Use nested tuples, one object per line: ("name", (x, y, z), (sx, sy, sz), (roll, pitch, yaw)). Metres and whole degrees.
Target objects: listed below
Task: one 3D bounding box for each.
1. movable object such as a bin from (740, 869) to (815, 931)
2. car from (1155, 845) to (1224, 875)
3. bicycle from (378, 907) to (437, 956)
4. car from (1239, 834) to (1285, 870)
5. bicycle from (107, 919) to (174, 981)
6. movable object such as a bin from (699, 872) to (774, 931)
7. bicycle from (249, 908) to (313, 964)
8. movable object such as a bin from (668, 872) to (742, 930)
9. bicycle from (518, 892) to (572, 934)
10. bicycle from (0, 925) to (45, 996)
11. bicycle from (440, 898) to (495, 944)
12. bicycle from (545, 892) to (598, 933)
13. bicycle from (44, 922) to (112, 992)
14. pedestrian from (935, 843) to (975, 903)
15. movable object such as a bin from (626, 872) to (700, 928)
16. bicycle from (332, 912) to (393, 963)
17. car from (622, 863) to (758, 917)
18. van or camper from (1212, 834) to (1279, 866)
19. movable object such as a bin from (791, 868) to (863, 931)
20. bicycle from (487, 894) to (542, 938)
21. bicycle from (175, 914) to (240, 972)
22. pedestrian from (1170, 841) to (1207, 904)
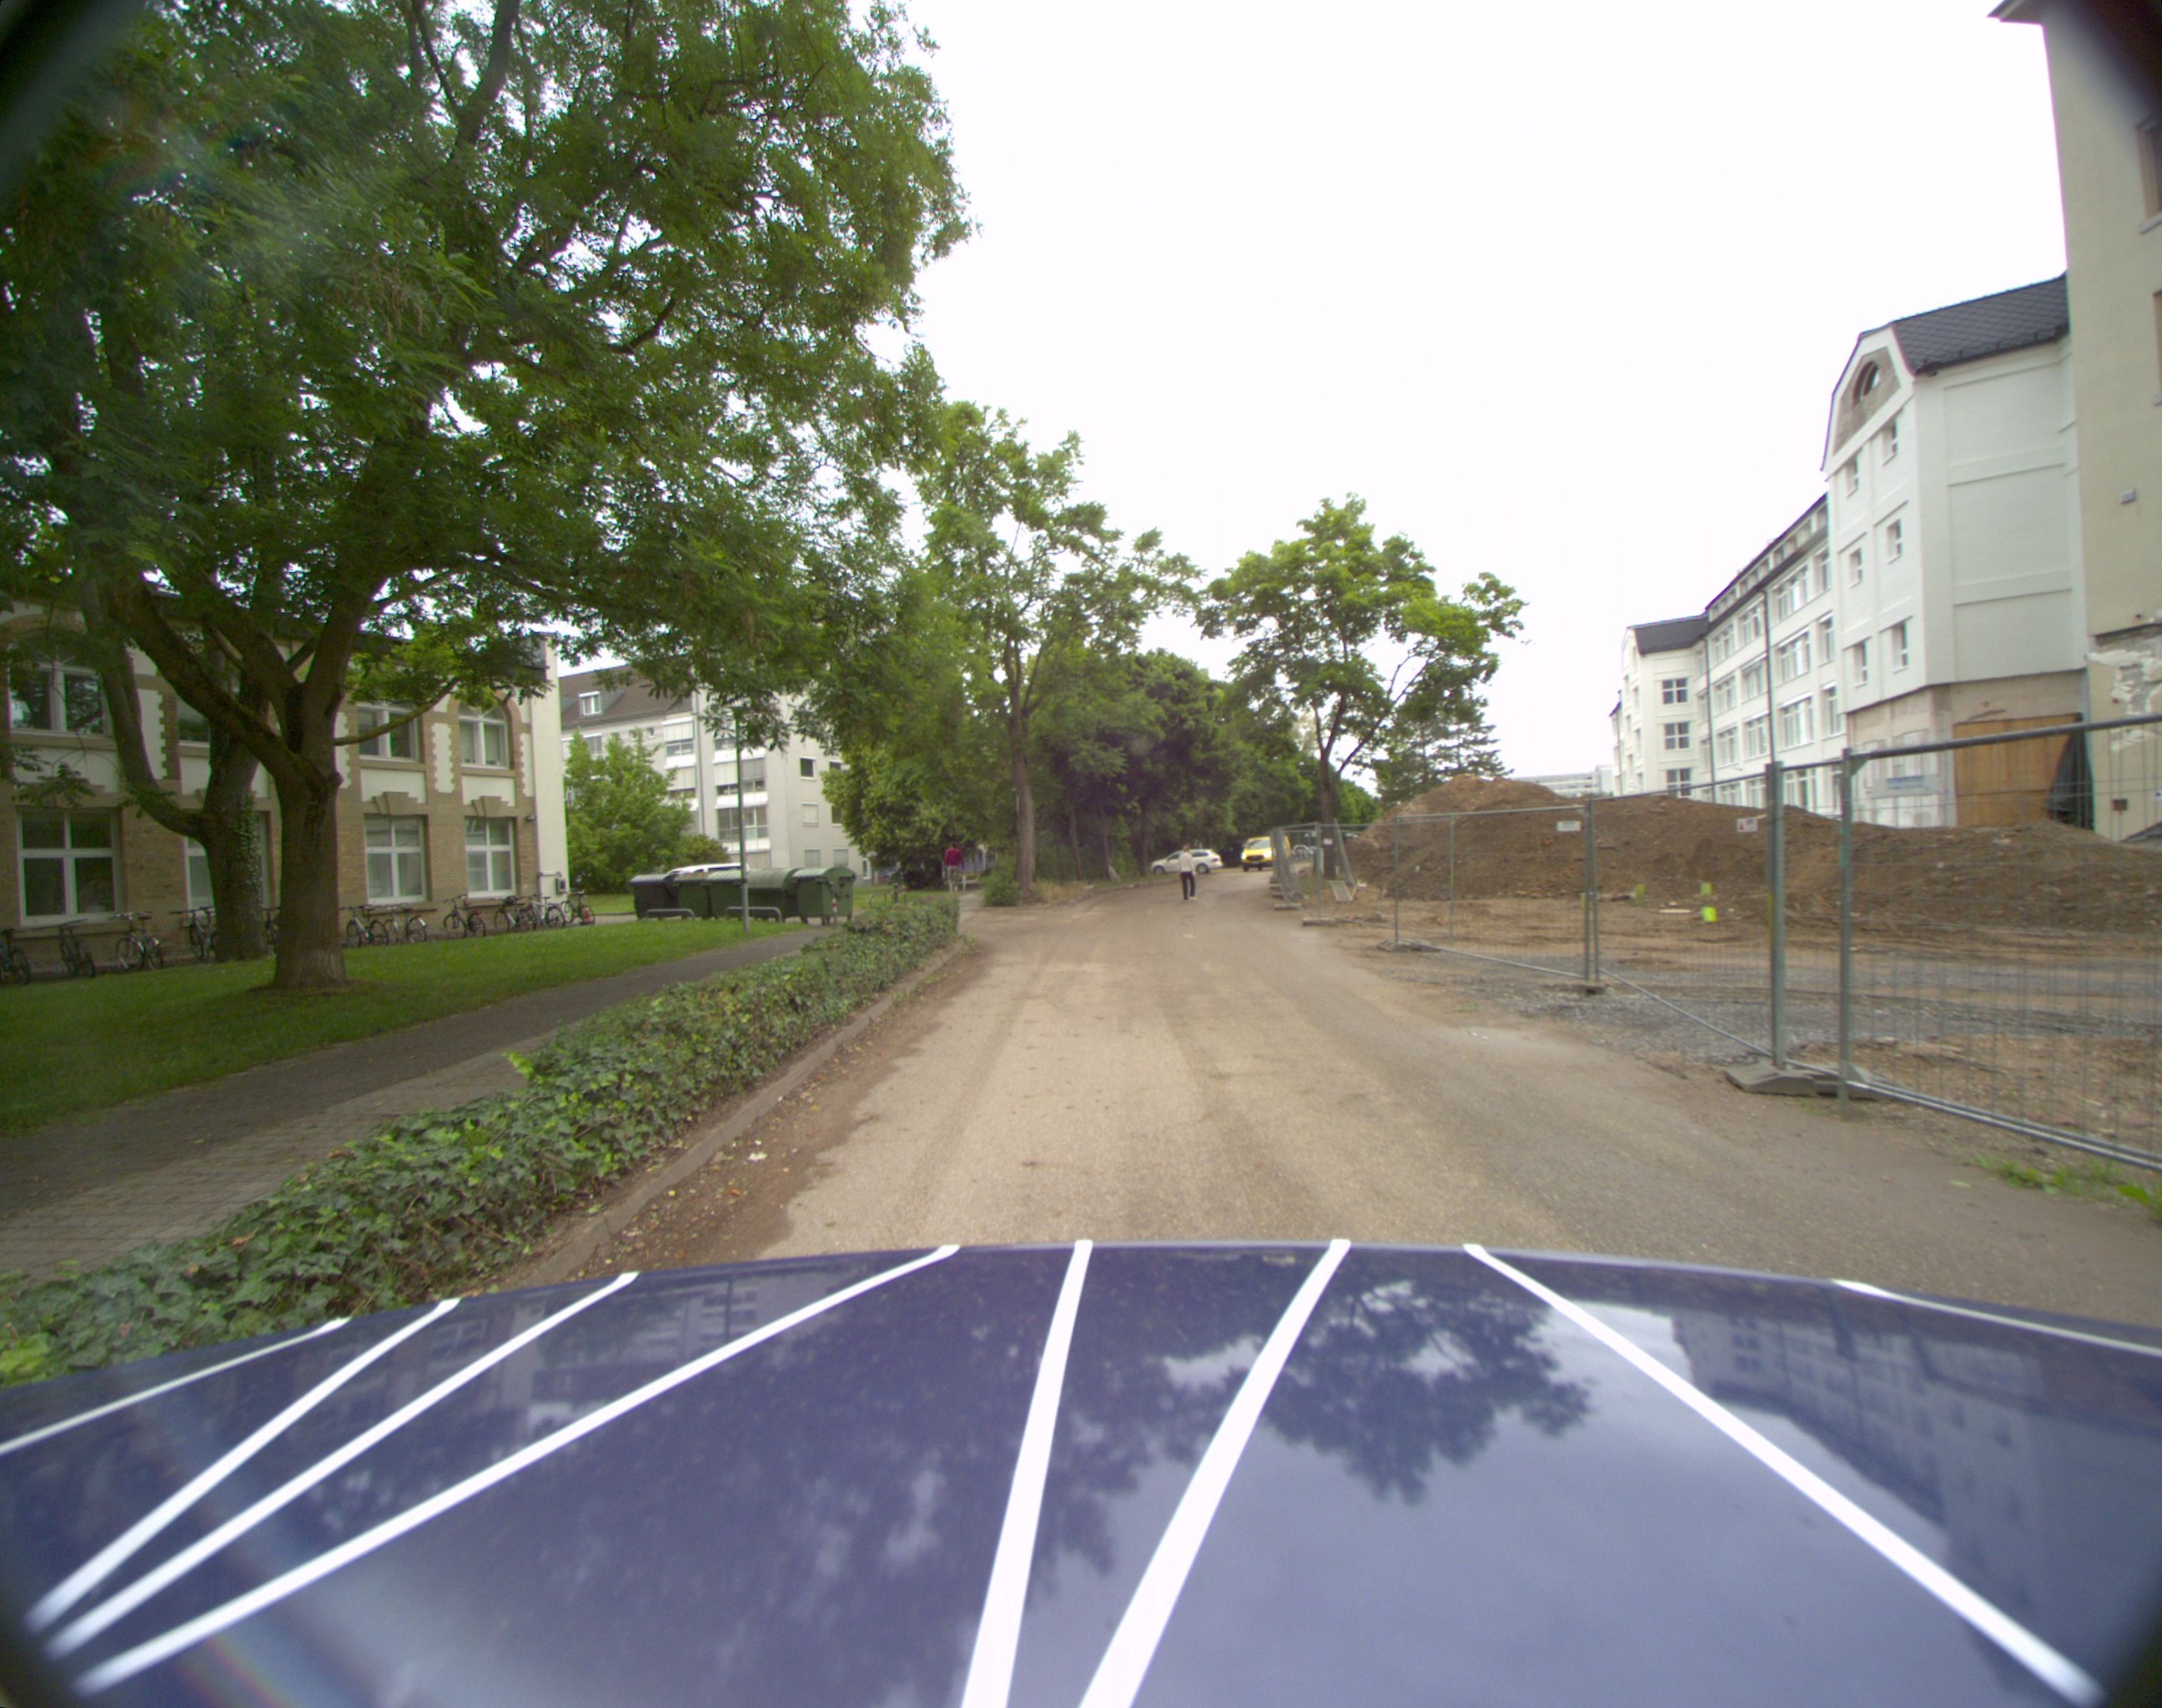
("movable object such as a bin", (-7.654, 1.143, 19.194), (1.283, 1.442, 1.110), (-3, 1, 21))
("car", (6.587, 0.360, 46.127), (3.879, 1.565, 1.754), (-3, 1, 15))
("bicycle", (-16.268, 1.848, 18.349), (1.740, 1.108, 0.461), (-3, 1, 28))
("car", (10.820, -0.136, 45.199), (2.121, 2.002, 4.005), (-2, 0, 20))
("bicycle", (-18.157, 1.822, 14.661), (1.740, 1.108, 0.461), (-3, 1, 28))
("movable object such as a bin", (-9.051, 1.232, 19.996), (1.292, 1.442, 1.110), (-3, 1, 21))
("bicycle", (-17.215, 1.737, 16.346), (1.740, 1.108, 0.461), (-2, 1, 28))
("movable object such as a bin", (-10.223, 1.271, 20.677), (1.324, 1.442, 1.110), (-3, 1, 21))
("bicycle", (-14.986, 1.659, 21.240), (1.740, 1.108, 0.461), (-3, 1, 28))
("bicycle", (-18.709, 1.834, 13.266), (1.740, 1.108, 0.461), (-1, 1, 28))
("bicycle", (-15.714, 1.704, 19.460), (1.740, 1.108, 0.461), (-3, 1, 30))
("bicycle", (-14.711, 1.683, 21.932), (1.740, 1.108, 0.461), (-3, 1, 28))
("bicycle", (-18.355, 1.857, 13.900), (1.740, 1.108, 0.461), (0, 2, 28))
("pedestrian", (-4.432, 0.670, 26.845), (0.793, 2.052, 1.203), (-2, 1, 23))
("movable object such as a bin", (-11.618, 1.278, 21.123), (1.359, 1.442, 1.110), (-3, 1, 21))
("bicycle", (-16.633, 1.911, 17.581), (1.740, 1.108, 0.461), (-3, 1, 28))
("car", (-16.545, 1.486, 32.430), (1.897, 1.862, 4.781), (-5, -1, 28))
("van or camper", (12.426, -0.310, 57.451), (4.490, 2.245, 2.003), (-2, 1, 27))
("movable object such as a bin", (-6.238, 1.102, 18.667), (1.272, 1.426, 1.074), (-2, 1, 36))
("bicycle", (-15.309, 1.669, 20.531), (1.740, 1.108, 0.461), (-3, 1, 28))
("bicycle", (-17.863, 1.797, 15.528), (1.740, 1.108, 0.461), (-3, 1, 28))
("pedestrian", (3.143, 0.540, 22.236), (0.752, 1.771, 0.662), (-3, 1, -24))
